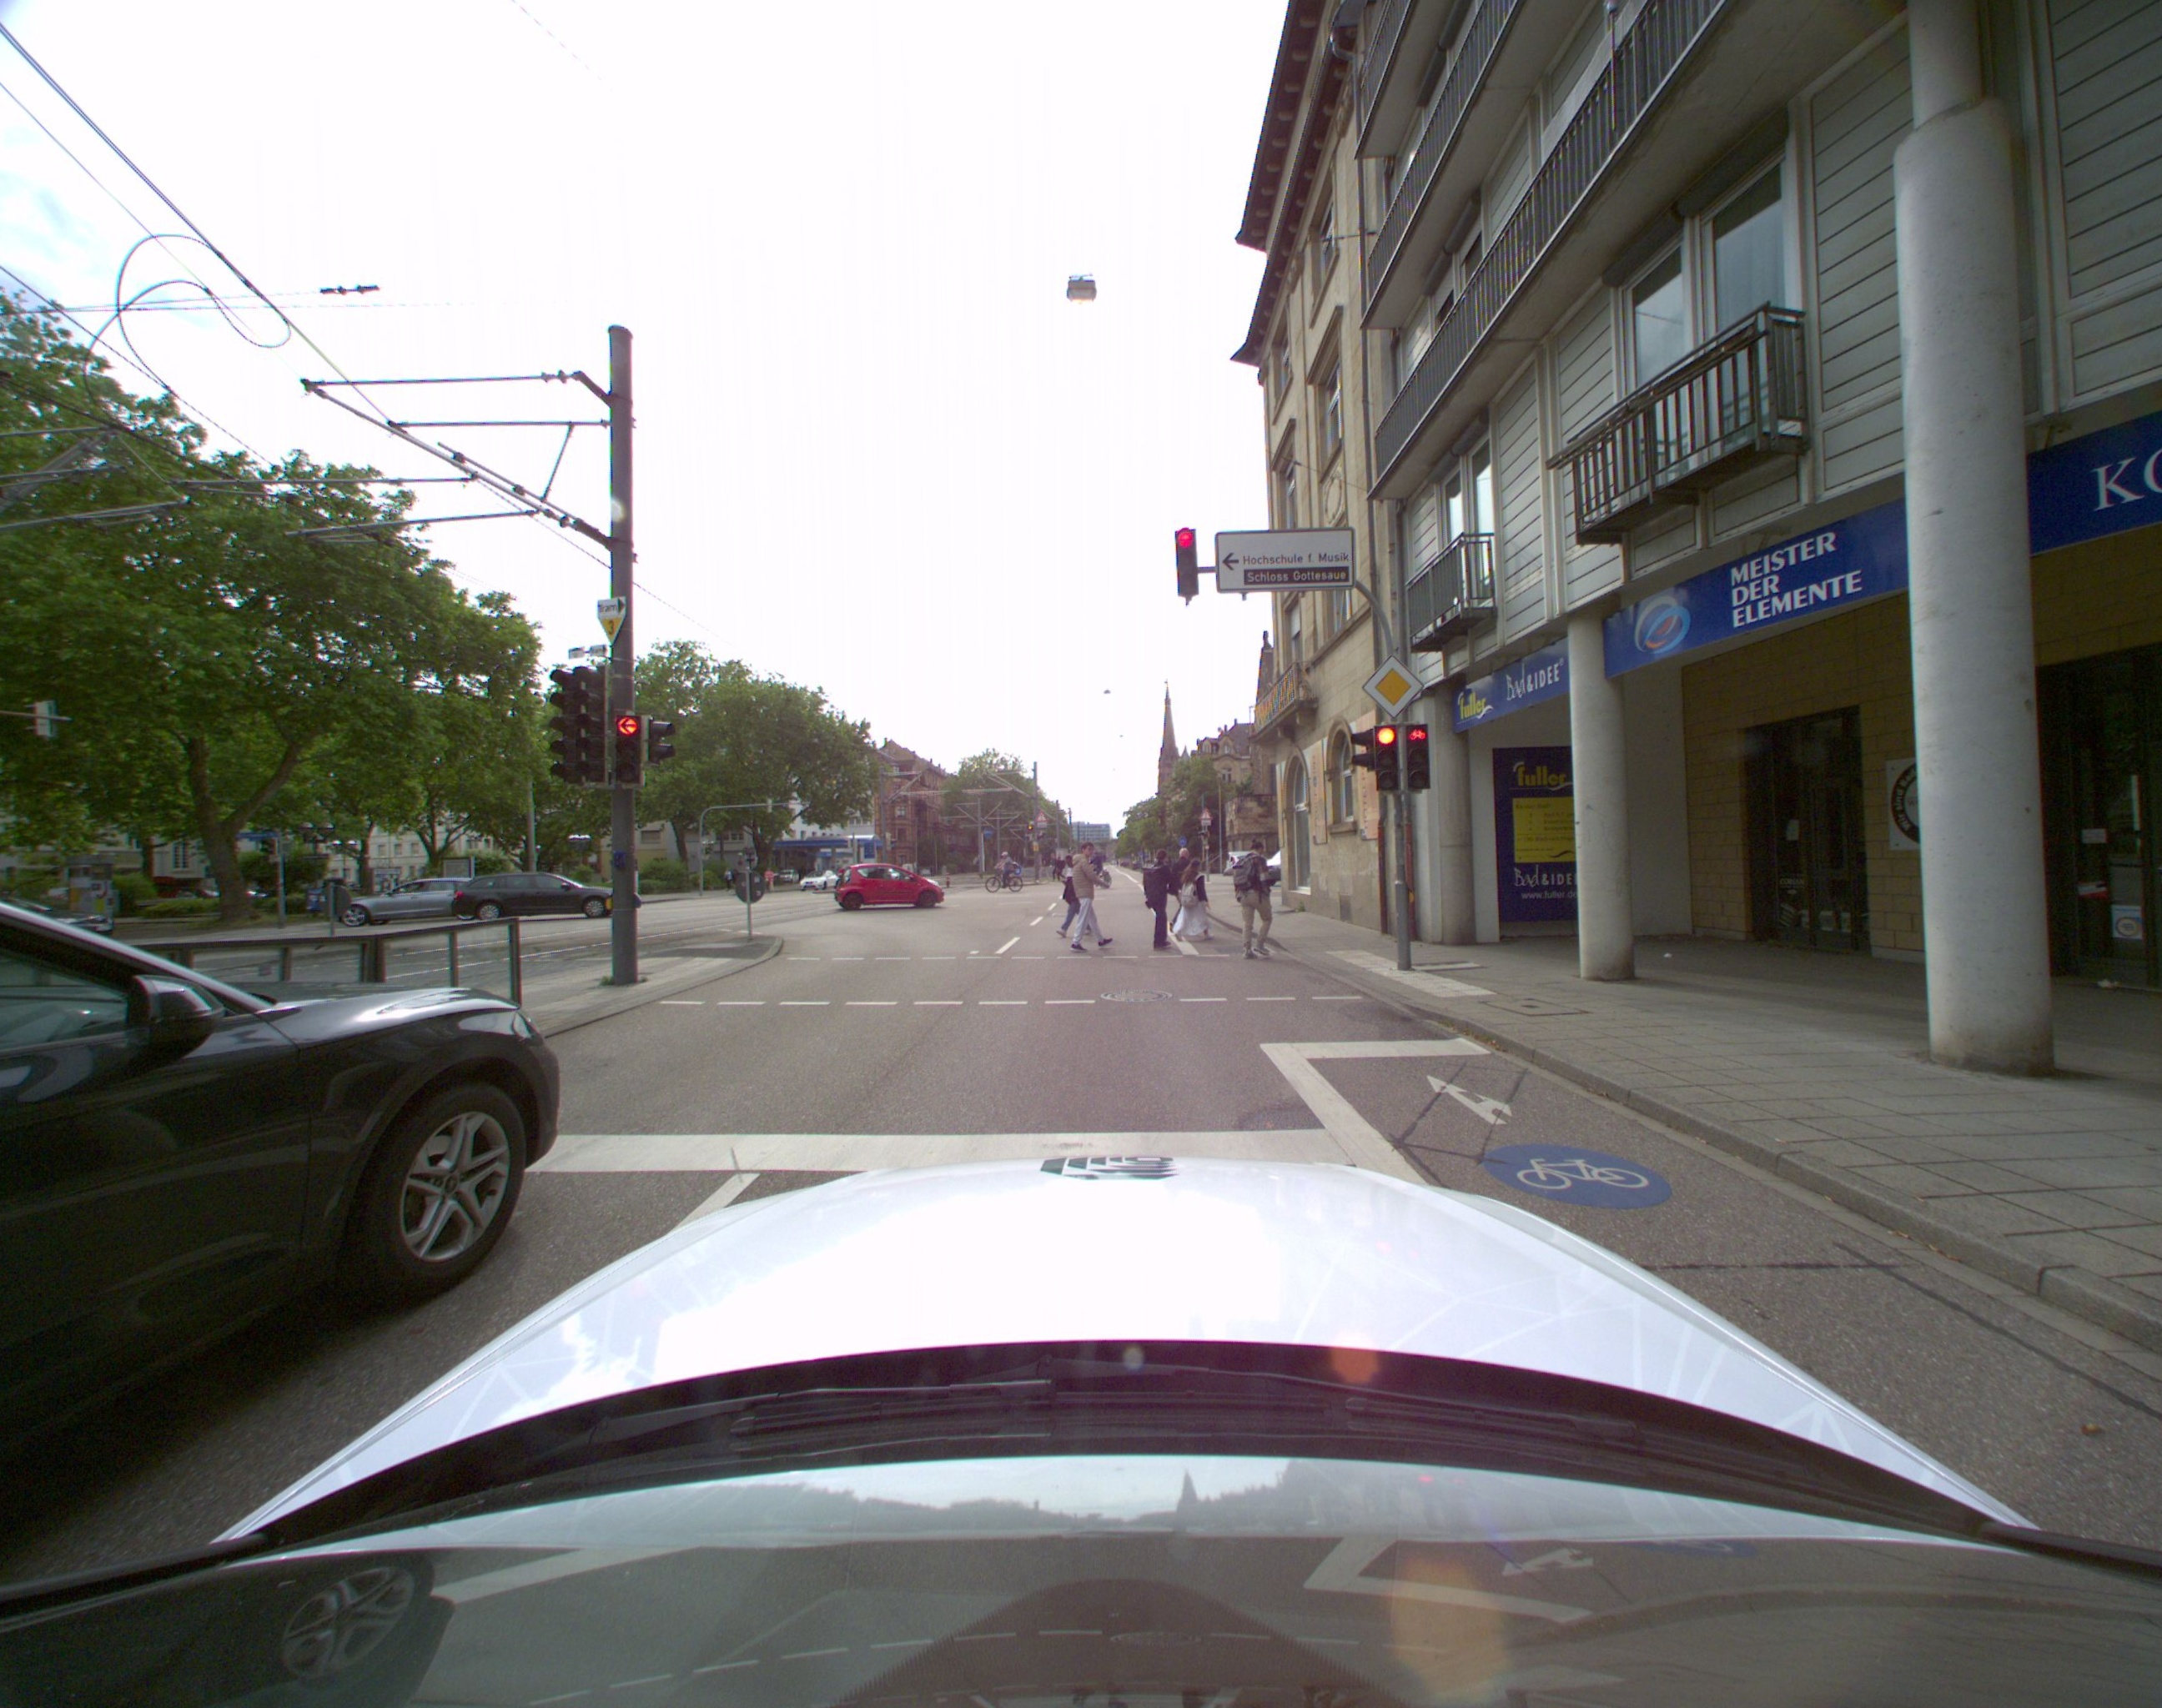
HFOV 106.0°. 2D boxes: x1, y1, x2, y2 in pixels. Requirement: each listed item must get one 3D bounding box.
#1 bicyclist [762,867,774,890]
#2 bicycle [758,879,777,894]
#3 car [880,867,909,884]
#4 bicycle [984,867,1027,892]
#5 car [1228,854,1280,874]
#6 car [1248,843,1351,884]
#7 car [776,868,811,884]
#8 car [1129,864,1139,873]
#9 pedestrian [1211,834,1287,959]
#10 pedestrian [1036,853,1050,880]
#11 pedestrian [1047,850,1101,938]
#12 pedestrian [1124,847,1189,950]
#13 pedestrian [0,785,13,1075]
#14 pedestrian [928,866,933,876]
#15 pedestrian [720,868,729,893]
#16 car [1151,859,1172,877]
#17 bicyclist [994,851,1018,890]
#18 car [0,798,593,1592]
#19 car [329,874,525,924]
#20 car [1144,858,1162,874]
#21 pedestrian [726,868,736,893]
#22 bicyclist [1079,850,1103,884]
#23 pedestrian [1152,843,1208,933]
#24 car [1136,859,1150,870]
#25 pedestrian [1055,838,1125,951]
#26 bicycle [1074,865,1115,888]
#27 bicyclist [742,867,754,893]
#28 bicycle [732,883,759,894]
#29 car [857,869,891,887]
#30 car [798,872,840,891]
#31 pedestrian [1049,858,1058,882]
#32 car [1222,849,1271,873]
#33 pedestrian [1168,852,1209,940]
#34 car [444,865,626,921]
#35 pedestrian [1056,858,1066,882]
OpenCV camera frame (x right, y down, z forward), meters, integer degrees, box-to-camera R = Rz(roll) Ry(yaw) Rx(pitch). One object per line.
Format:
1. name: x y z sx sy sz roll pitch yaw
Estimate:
1. bicyclist: -21.507 1.690 55.978 0.585 1.568 0.619 0 -1 1
2. bicycle: -21.458 2.212 55.729 0.520 1.017 1.937 0 -1 2
3. car: -18.314 2.072 80.006 1.887 1.557 3.837 0 -1 2
4. bicycle: -3.537 1.168 38.043 1.910 1.142 0.623 0 -1 -28
5. car: 13.771 0.792 64.988 3.785 1.601 2.001 0 -1 1
6. car: 11.007 0.462 40.954 4.886 1.967 1.973 0 -1 -24
7. car: -28.724 2.228 81.584 1.986 1.530 4.001 0 -1 2
8. car: 11.206 3.069 172.135 1.986 2.014 4.001 0 -1 2
9. pedestrian: 2.527 0.606 12.195 0.620 1.779 1.141 -2 -2 39
10. pedestrian: -2.347 0.788 50.210 0.848 1.654 0.508 0 -1 -1
11. pedestrian: -0.138 0.777 16.242 0.663 1.680 0.874 -1 -1 40
12. pedestrian: 1.269 0.720 13.602 0.620 1.653 1.003 -1 -1 39
13. pedestrian: -6.570 0.434 4.344 0.751 1.661 0.730 0 -1 1
14. pedestrian: -21.624 2.402 117.153 0.527 1.460 0.448 0 -1 -33
15. pedestrian: -25.672 1.886 58.591 0.370 1.784 0.452 -1 -1 34
16. car: 8.924 1.558 90.412 1.986 2.014 4.001 0 -1 1
17. bicyclist: -3.501 0.778 38.071 0.970 1.819 0.527 0 -1 -27
18. car: -3.131 0.700 1.408 1.873 1.601 4.358 -1 -1 1
19. car: -21.670 1.459 27.243 4.733 1.510 1.826 0 -1 -20
20. car: 8.850 1.468 99.887 1.986 2.014 4.001 0 -1 1
21. pedestrian: -25.202 1.886 58.621 0.370 1.784 0.555 -1 -1 28
22. bicyclist: 0.516 0.650 40.407 1.041 1.683 0.641 0 -1 -19
23. pedestrian: 2.004 0.674 16.531 0.906 1.784 0.651 -1 -1 39
24. car: 9.749 1.715 128.697 1.986 1.607 4.165 -3 -1 1
25. pedestrian: 0.139 0.652 13.478 1.015 1.813 0.580 0 -1 -22
26. bicycle: 0.670 1.113 40.463 1.943 1.136 0.731 0 -1 -19
27. bicyclist: -22.649 1.764 55.365 0.528 1.784 0.472 -1 -1 21
28. bicycle: -22.847 2.342 55.480 1.665 0.773 0.659 -1 -1 22
29. car: -18.597 2.165 73.302 1.887 1.557 3.837 0 -1 2
30. car: -19.193 2.014 59.790 1.628 1.325 4.001 0 -1 2
31. pedestrian: -1.777 1.032 52.723 0.544 1.537 0.465 0 -1 -3
32. car: 13.881 0.597 68.402 3.785 1.904 2.001 0 -1 1
33. pedestrian: 2.015 0.765 15.211 0.696 1.593 0.833 0 -1 10
34. car: -16.525 1.130 24.936 4.346 1.586 1.797 0 -1 -24
35. pedestrian: -1.278 1.020 52.204 0.651 1.537 0.465 0 -1 -3
